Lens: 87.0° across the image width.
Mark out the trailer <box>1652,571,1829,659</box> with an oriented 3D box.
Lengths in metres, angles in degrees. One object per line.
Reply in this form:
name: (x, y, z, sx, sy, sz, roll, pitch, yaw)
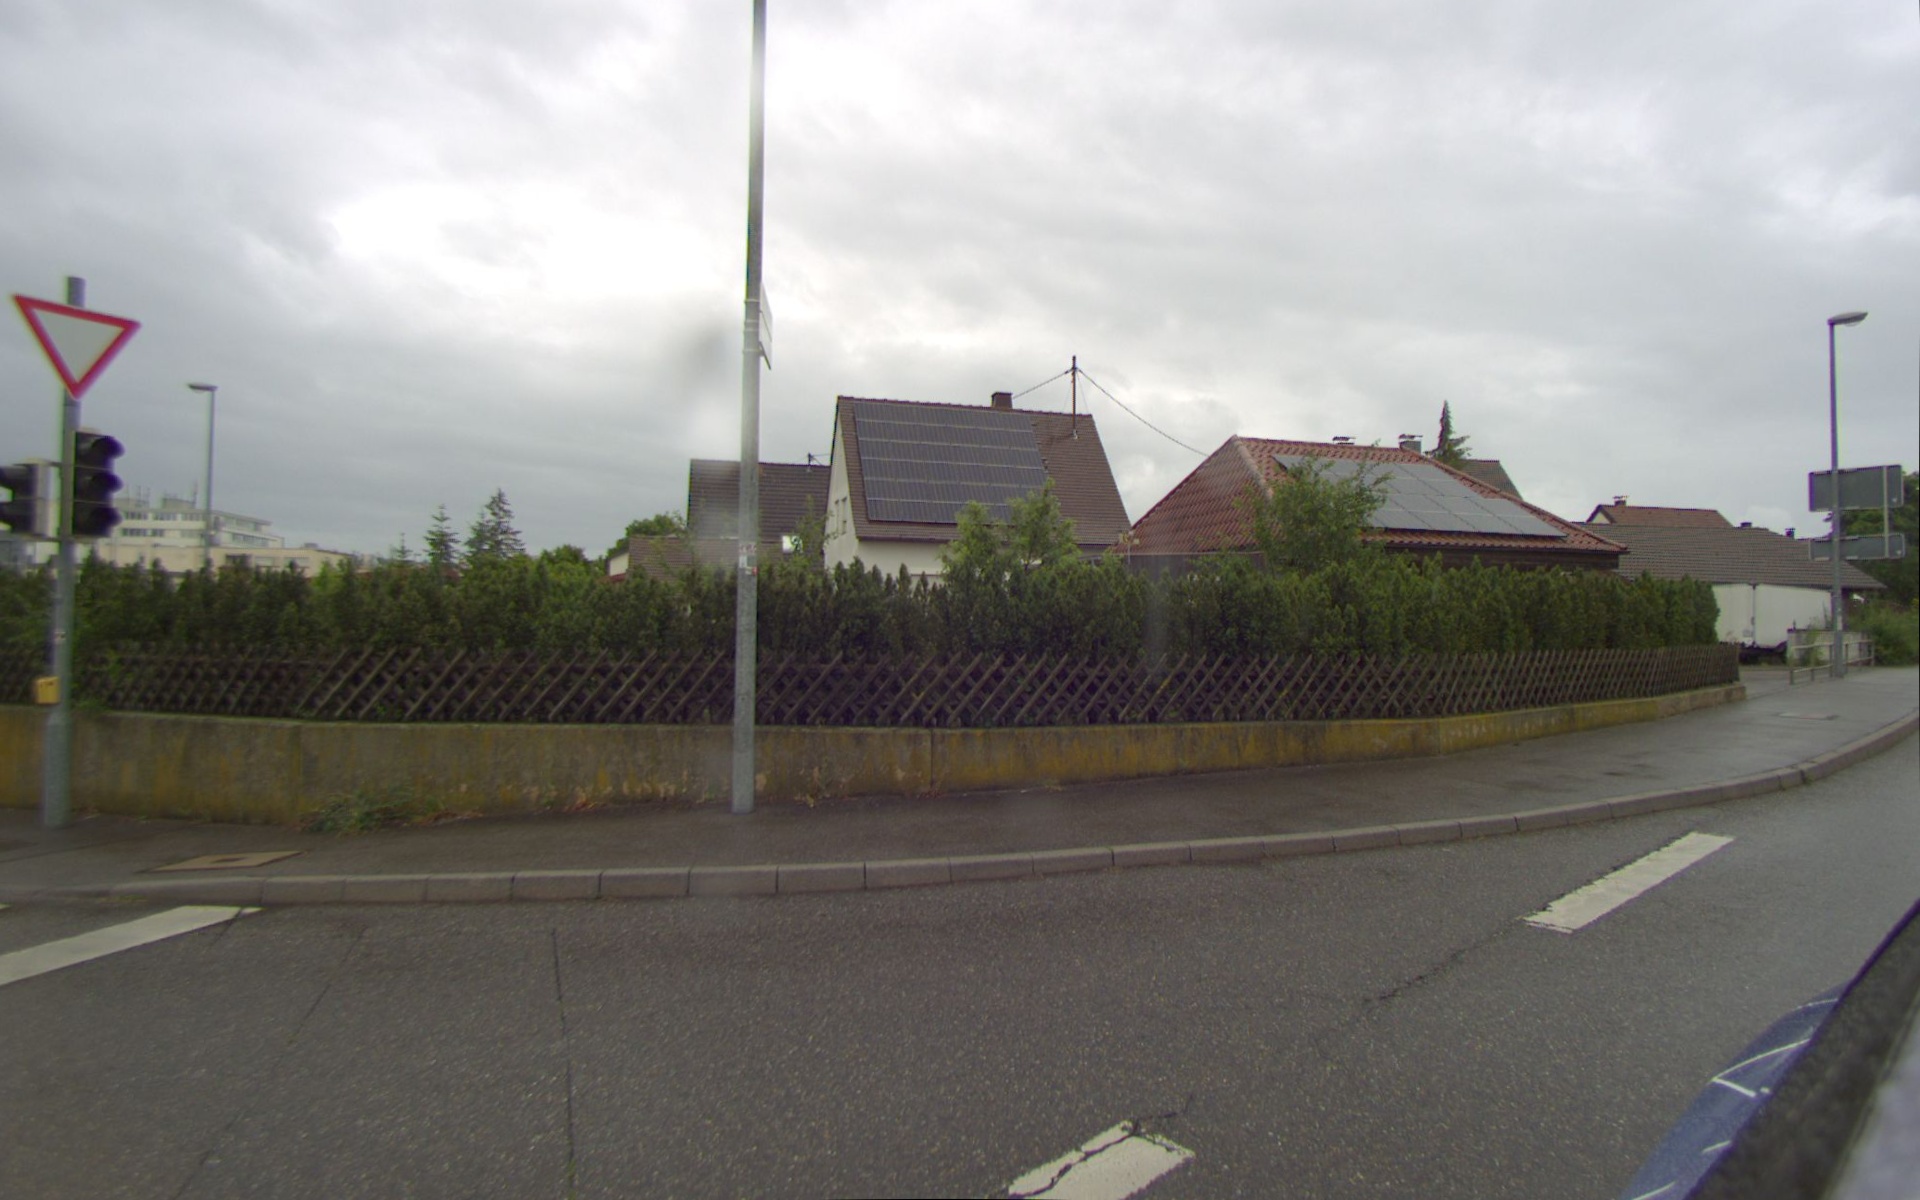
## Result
trailer: (23.694, 0.464, 30.757, 4.605, 2.550, 1.652, 0, -2, -13)
